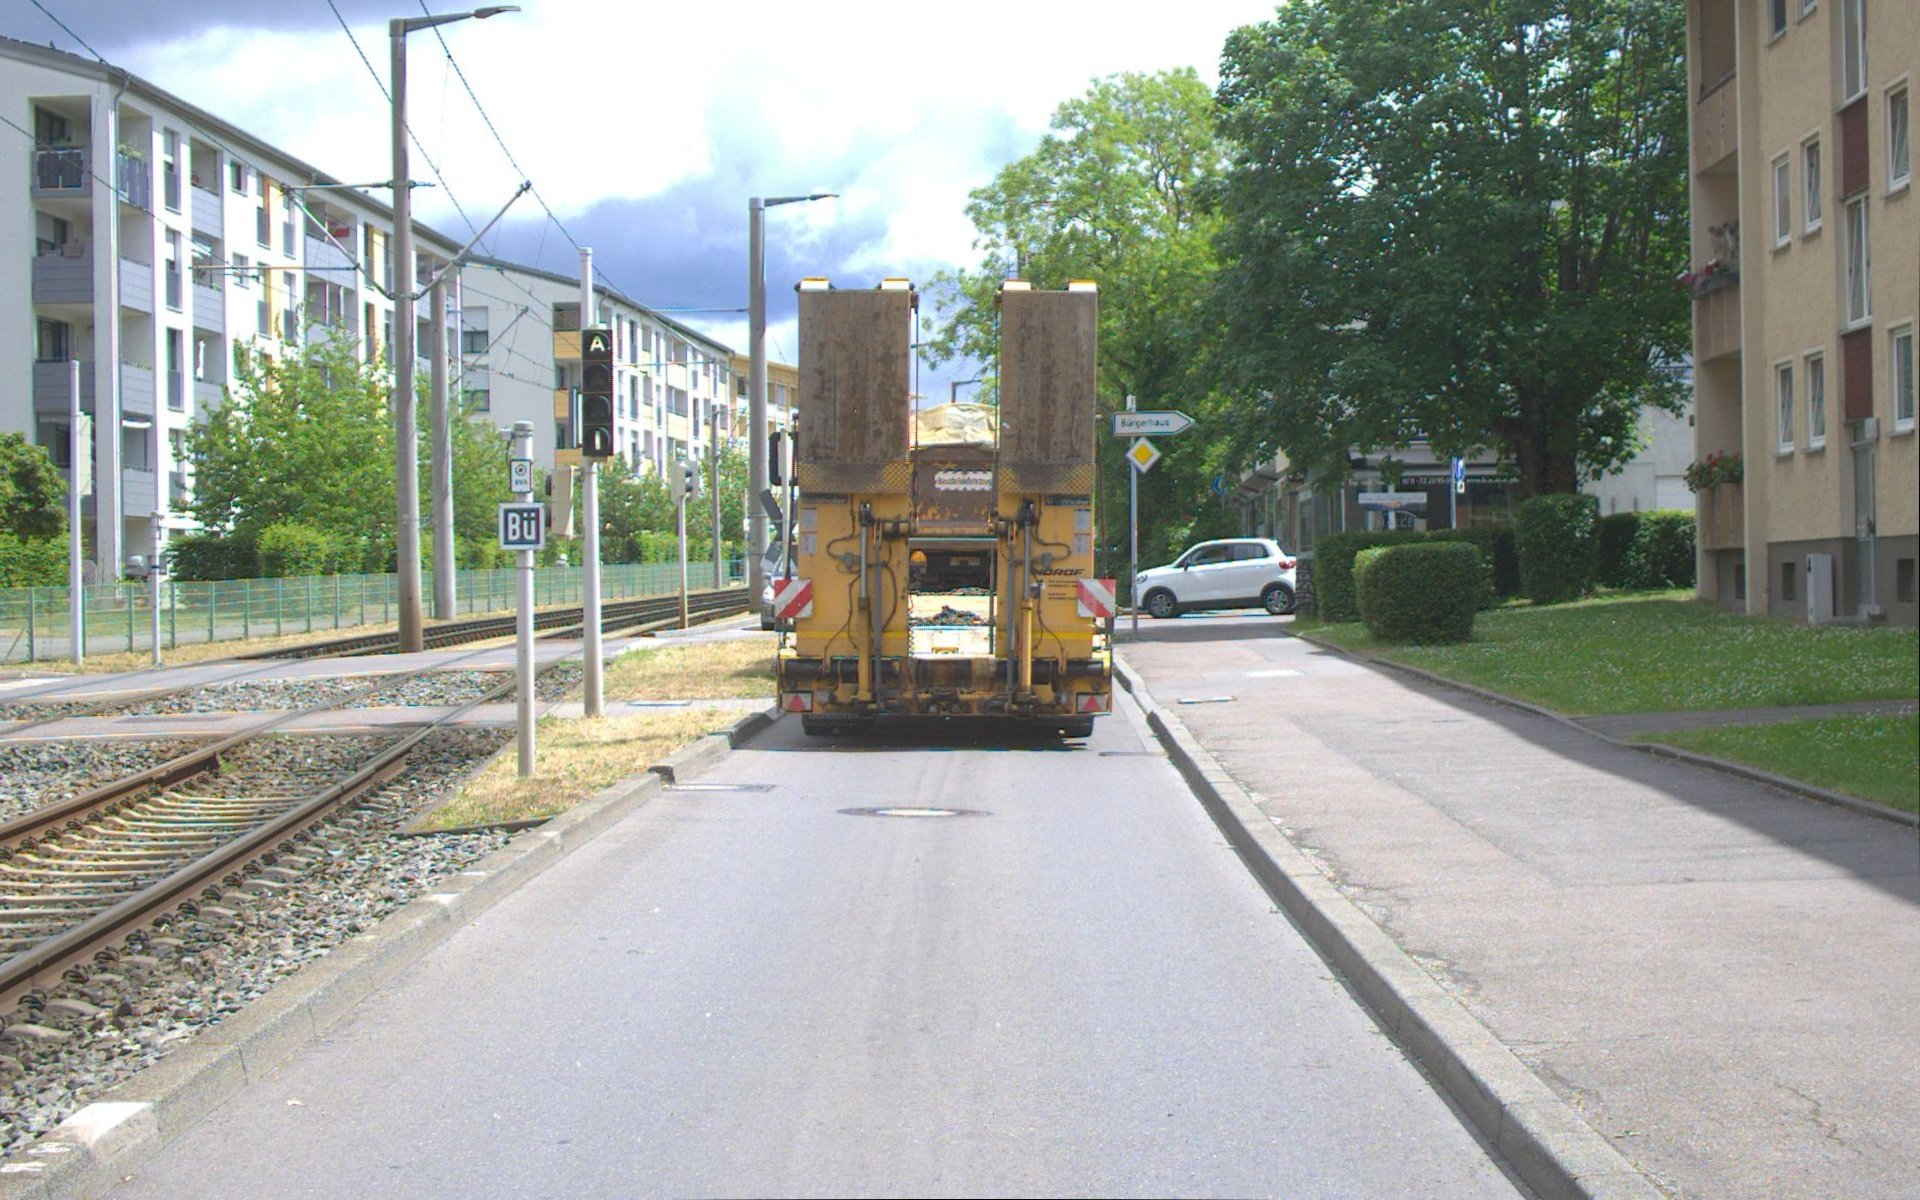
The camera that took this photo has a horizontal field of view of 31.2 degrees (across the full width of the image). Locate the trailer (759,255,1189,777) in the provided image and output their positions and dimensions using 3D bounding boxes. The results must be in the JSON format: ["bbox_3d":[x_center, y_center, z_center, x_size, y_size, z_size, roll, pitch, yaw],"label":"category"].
[{"bbox_3d":[-0.038,-0.802,31.275,3.050,3.759,11.614,-2,2,-1],"label":"trailer"}]

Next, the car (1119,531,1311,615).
[{"bbox_3d":[5.214,-0.556,70.015,3.600,1.579,1.999,-2,0,13],"label":"car"}]

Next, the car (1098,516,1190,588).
[{"bbox_3d":[4.481,-1.201,84.209,1.993,1.612,4.000,-2,2,1],"label":"car"}]

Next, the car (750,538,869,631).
[{"bbox_3d":[-2.839,-0.298,65.752,1.802,1.646,4.131,-2,0,4],"label":"car"}]

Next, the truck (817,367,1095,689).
[{"bbox_3d":[-0.145,-0.886,40.531,2.833,3.318,7.985,-2,2,-1],"label":"truck"}]

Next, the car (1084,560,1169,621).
[{"bbox_3d":[4.307,-0.256,89.206,1.993,1.382,4.000,-2,2,1],"label":"car"}]
